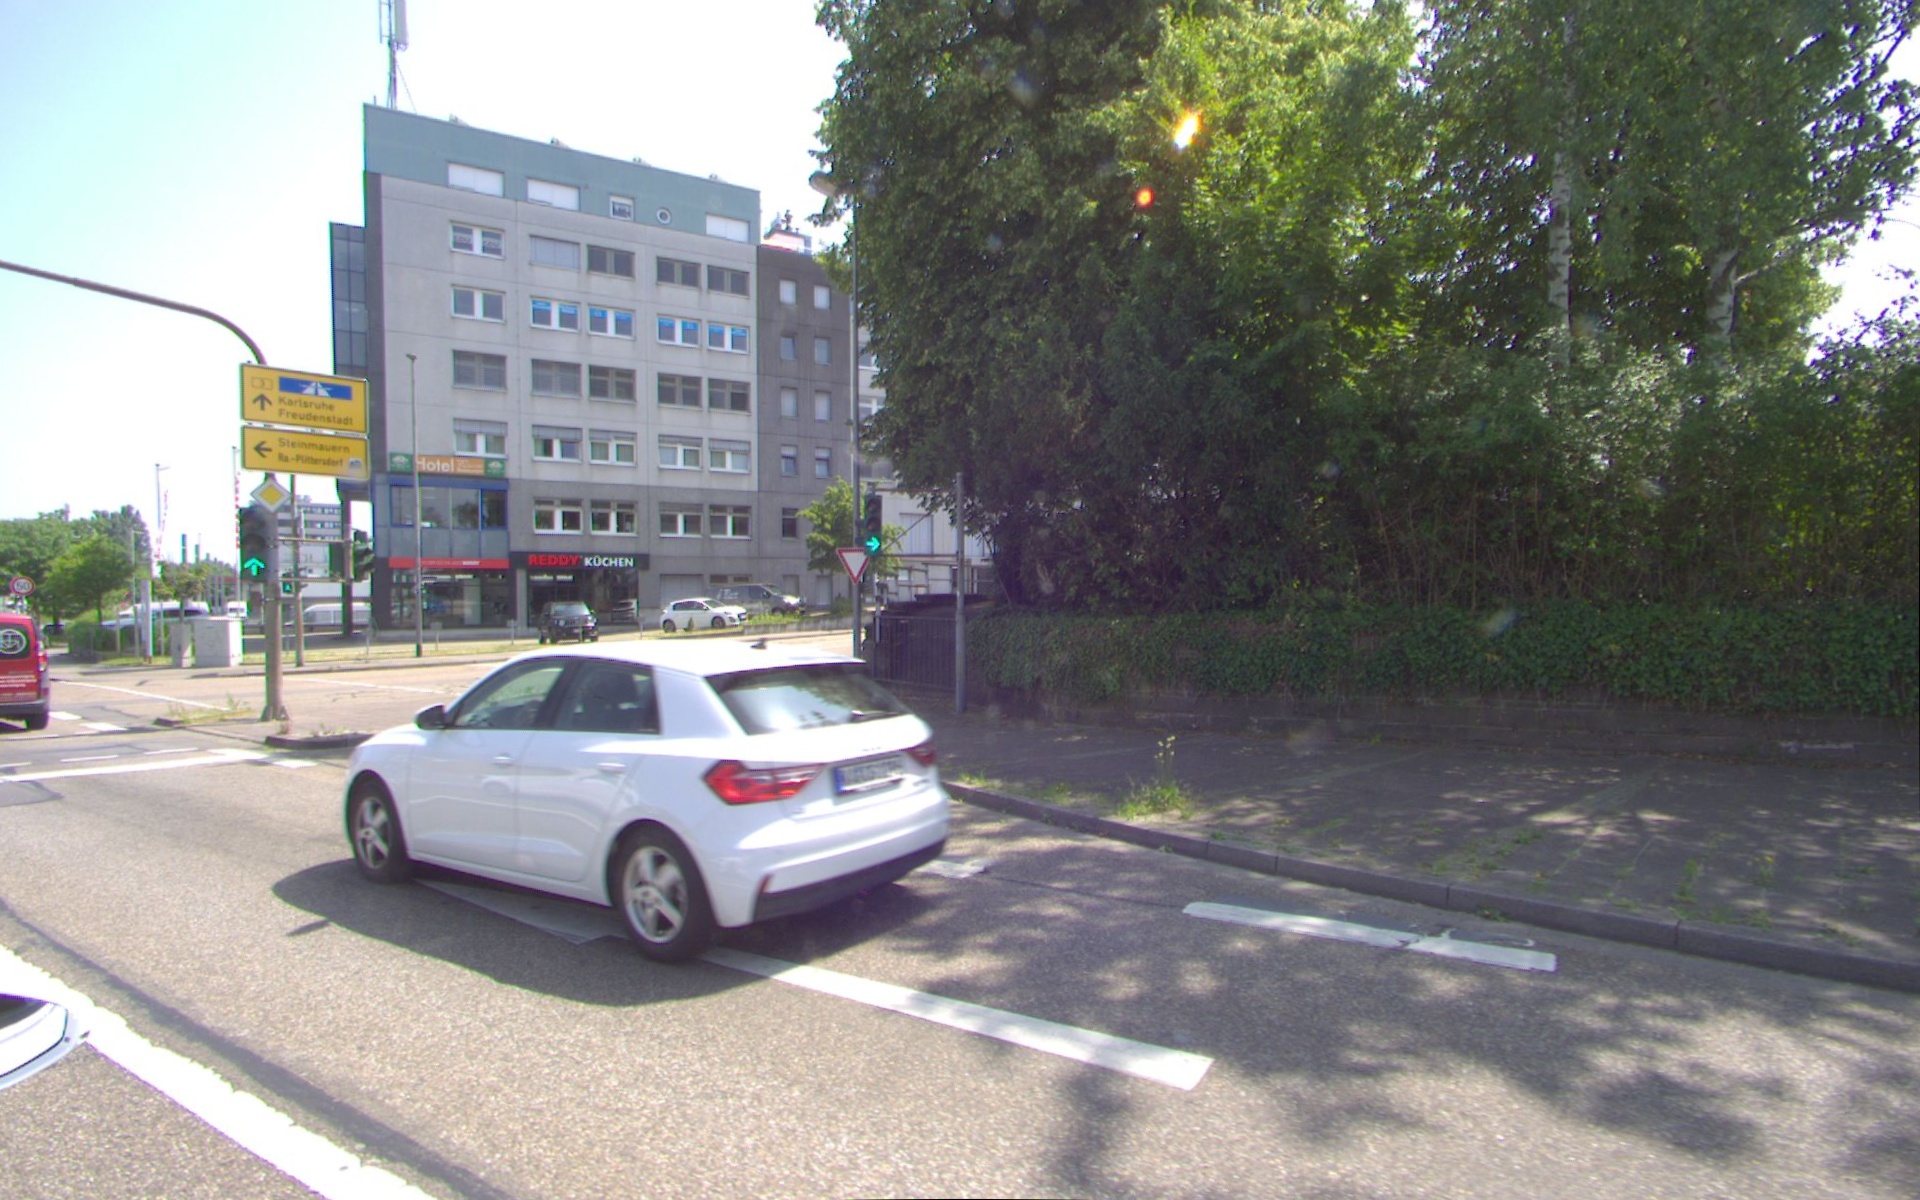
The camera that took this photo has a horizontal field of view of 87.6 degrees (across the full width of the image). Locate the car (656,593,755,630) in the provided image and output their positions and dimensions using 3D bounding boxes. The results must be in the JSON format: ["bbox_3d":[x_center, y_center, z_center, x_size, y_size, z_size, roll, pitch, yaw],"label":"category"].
[{"bbox_3d":[-11.468,0.538,45.142,4.148,1.552,1.543,-1,-2,16],"label":"car"}]

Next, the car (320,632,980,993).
[{"bbox_3d":[-1.896,0.899,5.734,3.741,1.417,1.663,-1,-1,34],"label":"car"}]

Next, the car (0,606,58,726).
[{"bbox_3d":[-15.706,0.976,15.577,3.922,1.751,1.789,-1,-1,37],"label":"car"}]

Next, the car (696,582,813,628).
[{"bbox_3d":[-9.724,0.256,47.440,5.097,2.062,1.890,0,-2,16],"label":"car"}]

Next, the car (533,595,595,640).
[{"bbox_3d":[-15.996,0.714,40.374,1.523,1.697,4.303,0,-1,-33],"label":"car"}]

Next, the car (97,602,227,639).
[{"bbox_3d":[-39.732,1.070,49.995,1.970,1.735,4.721,-1,-2,29],"label":"car"}]

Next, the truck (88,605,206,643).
[{"bbox_3d":[-57.299,1.633,70.801,6.182,2.369,2.352,-2,2,-34],"label":"truck"}]

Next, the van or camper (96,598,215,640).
[{"bbox_3d":[-59.767,1.332,74.584,6.733,2.937,2.259,-1,1,-36],"label":"van or camper"}]

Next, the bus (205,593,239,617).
[{"bbox_3d":[-105.494,0.605,143.361,2.774,3.120,12.210,0,1,-31],"label":"bus"}]

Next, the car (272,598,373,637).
[{"bbox_3d":[-43.945,1.254,69.161,5.826,2.560,2.108,1,-2,-33],"label":"car"}]
